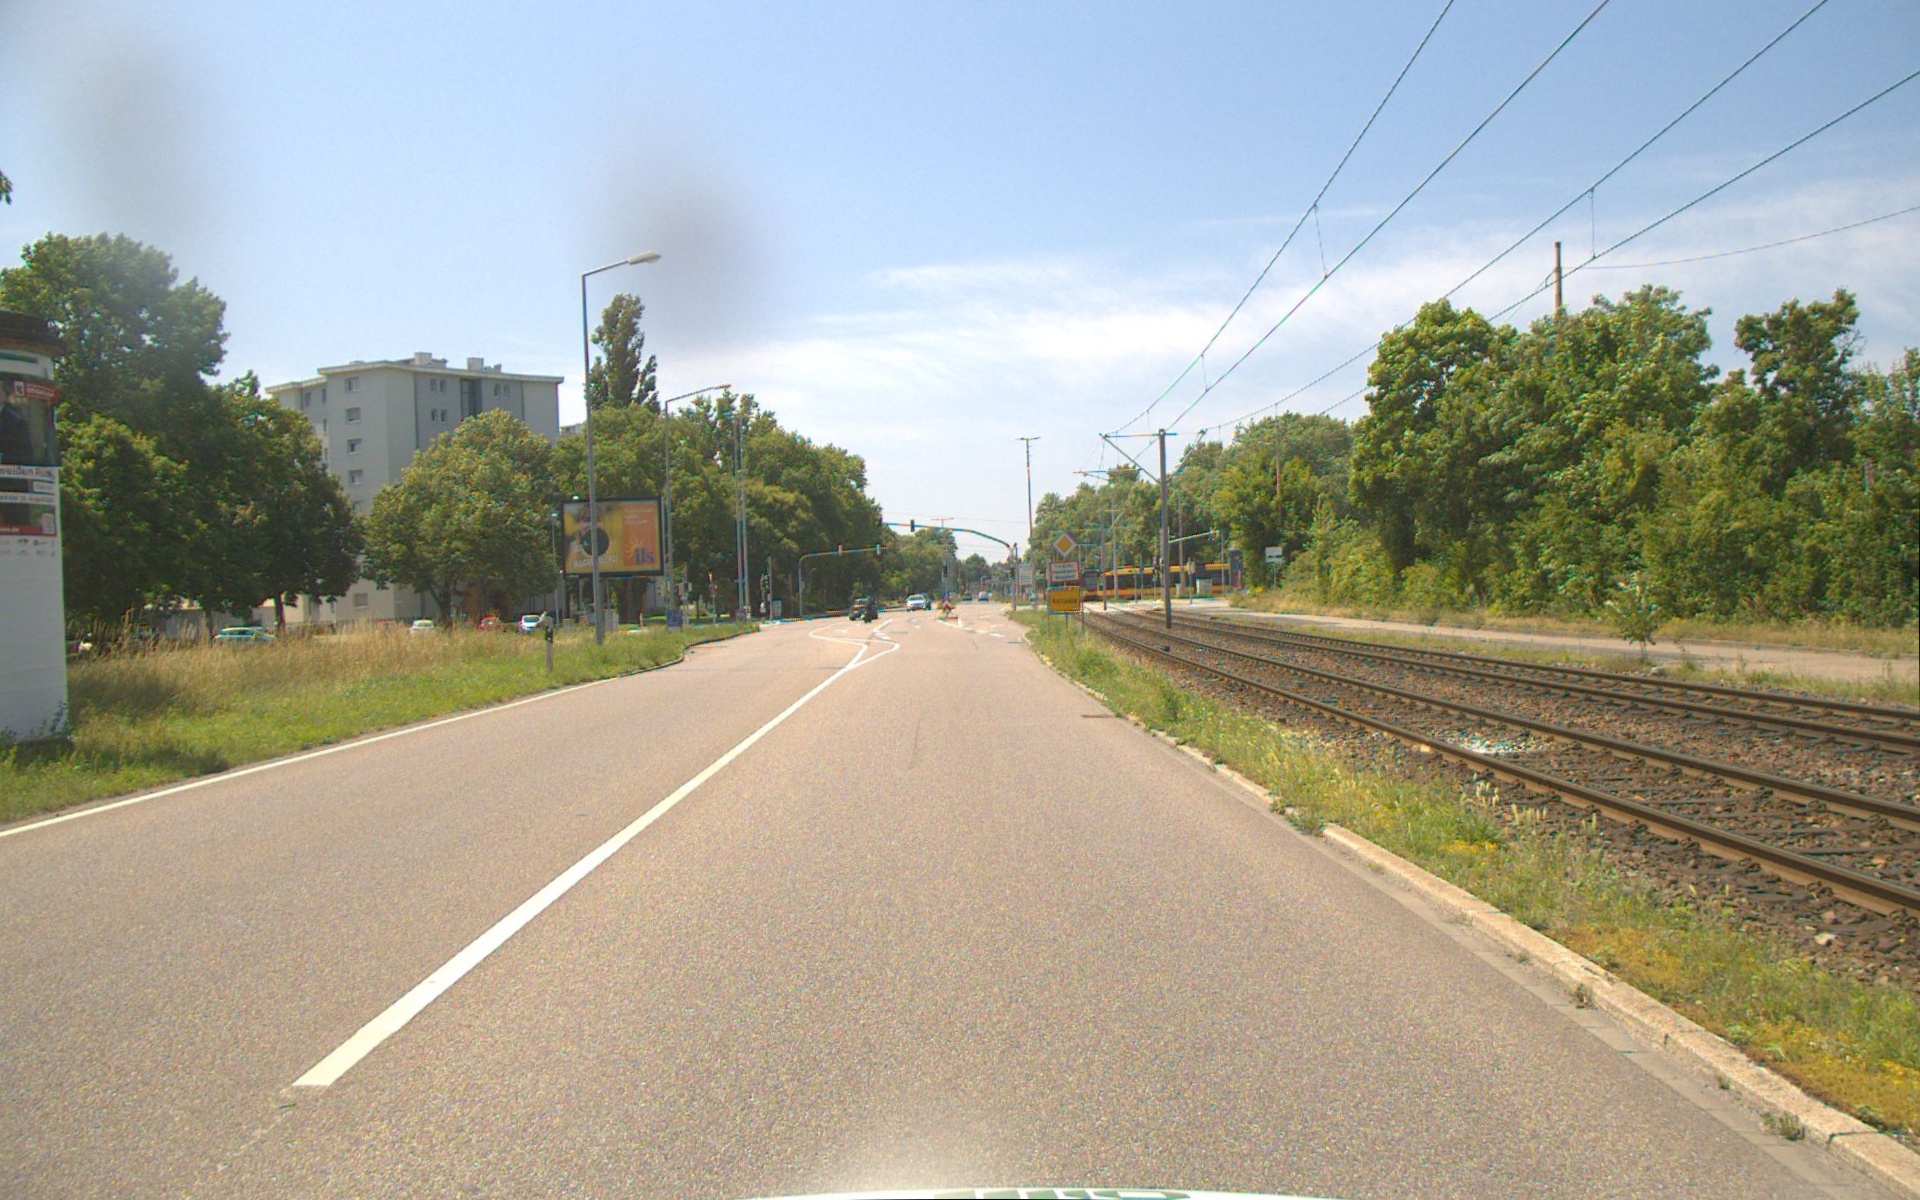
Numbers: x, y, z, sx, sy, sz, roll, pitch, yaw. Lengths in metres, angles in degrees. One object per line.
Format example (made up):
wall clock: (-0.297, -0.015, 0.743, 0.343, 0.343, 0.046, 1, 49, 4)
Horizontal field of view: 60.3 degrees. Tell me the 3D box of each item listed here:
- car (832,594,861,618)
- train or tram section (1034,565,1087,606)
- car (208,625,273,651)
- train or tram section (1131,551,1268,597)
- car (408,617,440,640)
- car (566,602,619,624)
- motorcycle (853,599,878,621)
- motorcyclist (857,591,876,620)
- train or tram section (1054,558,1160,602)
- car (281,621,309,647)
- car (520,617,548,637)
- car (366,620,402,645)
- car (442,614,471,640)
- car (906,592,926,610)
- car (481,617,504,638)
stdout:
car: (-7.730, 0.408, 112.475, 1.869, 1.525, 4.625, -1, 0, -5)
train or tram section: (11.319, -1.581, 188.150, 2.862, 3.879, 13.036, -1, -3, -11)
car: (-46.995, 2.467, 108.038, 3.835, 1.494, 1.762, -2, 0, -25)
train or tram section: (24.919, -2.662, 172.298, 13.708, 3.988, 2.923, -2, -3, 21)
car: (-39.595, 2.115, 122.195, 1.684, 1.620, 3.966, -1, 0, -26)
car: (-33.402, 1.158, 150.396, 1.758, 1.799, 4.525, -2, 0, 40)
motorcycle: (-5.564, 0.587, 97.447, 0.829, 1.277, 2.451, -1, 0, 13)
motorcyclist: (-5.535, 0.296, 97.647, 0.773, 1.671, 1.212, -1, 0, 13)
train or tram section: (15.689, -2.110, 178.431, 2.896, 3.879, 13.261, 1, -4, -39)
car: (-47.933, 2.425, 119.184, 1.820, 1.741, 3.973, -1, 0, -22)
car: (-32.319, 2.018, 125.338, 1.601, 1.404, 3.975, -1, 0, -21)
car: (-42.282, 2.394, 121.367, 1.827, 1.697, 3.960, -3, 0, -30)
car: (-37.433, 1.979, 122.988, 1.681, 1.832, 3.973, -1, 0, -22)
car: (-4.172, 0.087, 158.181, 1.748, 1.657, 3.865, 0, 0, 0)
car: (-34.950, 2.047, 123.703, 1.591, 1.489, 3.983, -1, 0, -16)
